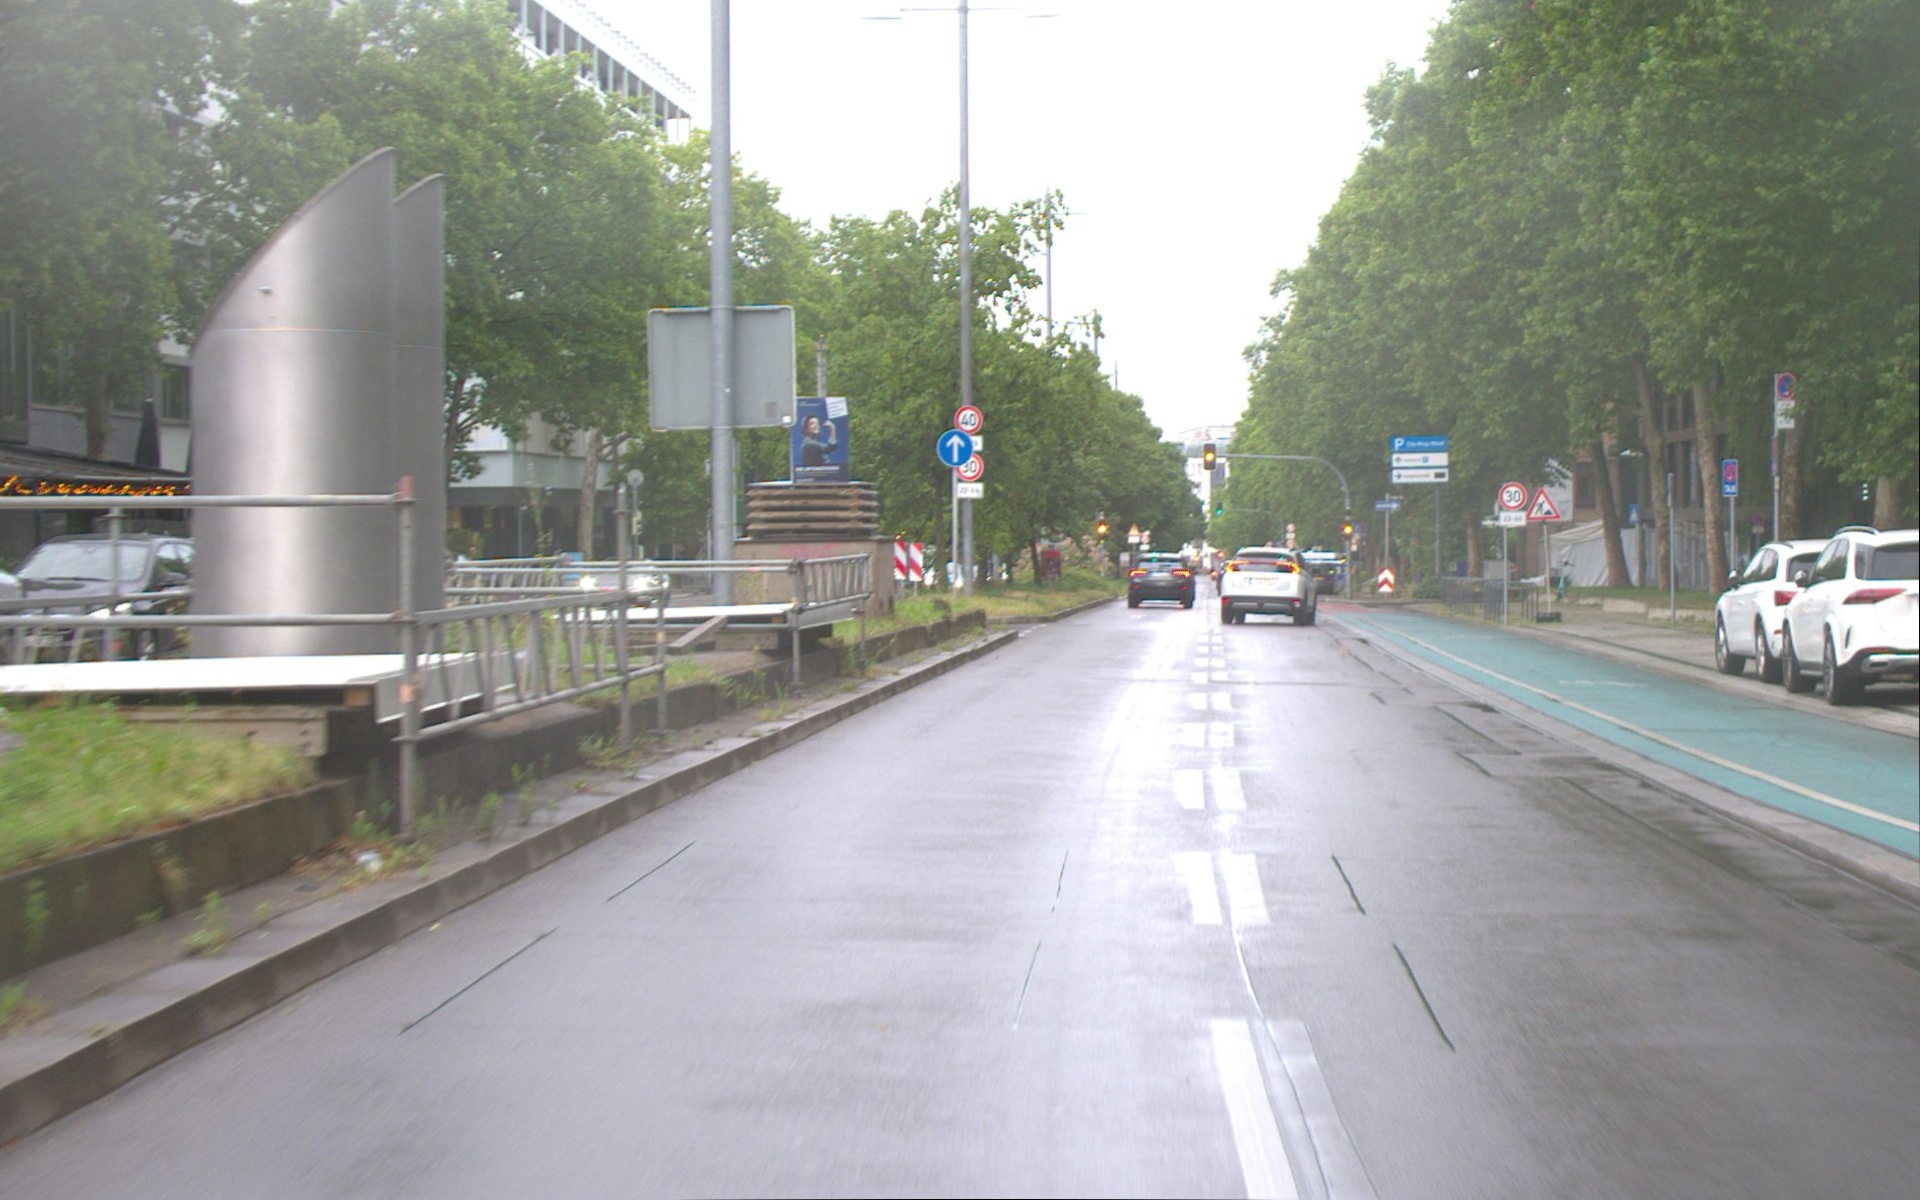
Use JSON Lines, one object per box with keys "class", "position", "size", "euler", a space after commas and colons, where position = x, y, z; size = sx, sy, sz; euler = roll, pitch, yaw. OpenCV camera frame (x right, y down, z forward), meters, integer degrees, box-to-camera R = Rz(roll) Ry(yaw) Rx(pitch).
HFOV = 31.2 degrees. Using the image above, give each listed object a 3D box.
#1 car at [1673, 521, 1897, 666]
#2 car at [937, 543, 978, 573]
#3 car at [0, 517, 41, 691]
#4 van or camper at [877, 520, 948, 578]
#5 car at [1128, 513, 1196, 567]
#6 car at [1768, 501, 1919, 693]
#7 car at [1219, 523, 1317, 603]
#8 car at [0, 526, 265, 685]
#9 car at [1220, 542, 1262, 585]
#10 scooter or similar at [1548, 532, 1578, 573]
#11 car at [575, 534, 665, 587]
{"class": "car", "position": [9.958, -0.134, 41.849], "size": [1.843, 1.627, 4.786], "euler": [0, 2, 4]}
{"class": "car", "position": [-0.106, -2.141, 174.563], "size": [1.843, 1.424, 3.642], "euler": [0, 2, 4]}
{"class": "car", "position": [-9.655, 0.075, 29.875], "size": [1.735, 1.568, 4.831], "euler": [0, 2, 4]}
{"class": "van or camper", "position": [-1.589, -1.752, 116.390], "size": [1.994, 1.907, 5.251], "euler": [0, 2, 4]}
{"class": "car", "position": [5.817, -1.736, 98.884], "size": [1.919, 1.486, 4.000], "euler": [0, 1, 4]}
{"class": "car", "position": [9.695, -0.096, 35.763], "size": [1.844, 1.832, 5.093], "euler": [-1, 1, 6]}
{"class": "car", "position": [6.657, -0.839, 74.791], "size": [1.994, 1.649, 4.888], "euler": [0, 2, 4]}
{"class": "car", "position": [-9.108, 0.001, 36.697], "size": [1.914, 1.547, 4.540], "euler": [0, 2, 8]}
{"class": "car", "position": [11.329, -1.478, 138.755], "size": [1.620, 1.660, 4.000], "euler": [0, 1, 4]}
{"class": "scooter or similar", "position": [18.094, -1.426, 103.168], "size": [0.381, 1.224, 1.076], "euler": [1, 1, 40]}
{"class": "car", "position": [-9.508, -1.129, 96.421], "size": [1.967, 1.404, 4.957], "euler": [0, 2, 1]}
